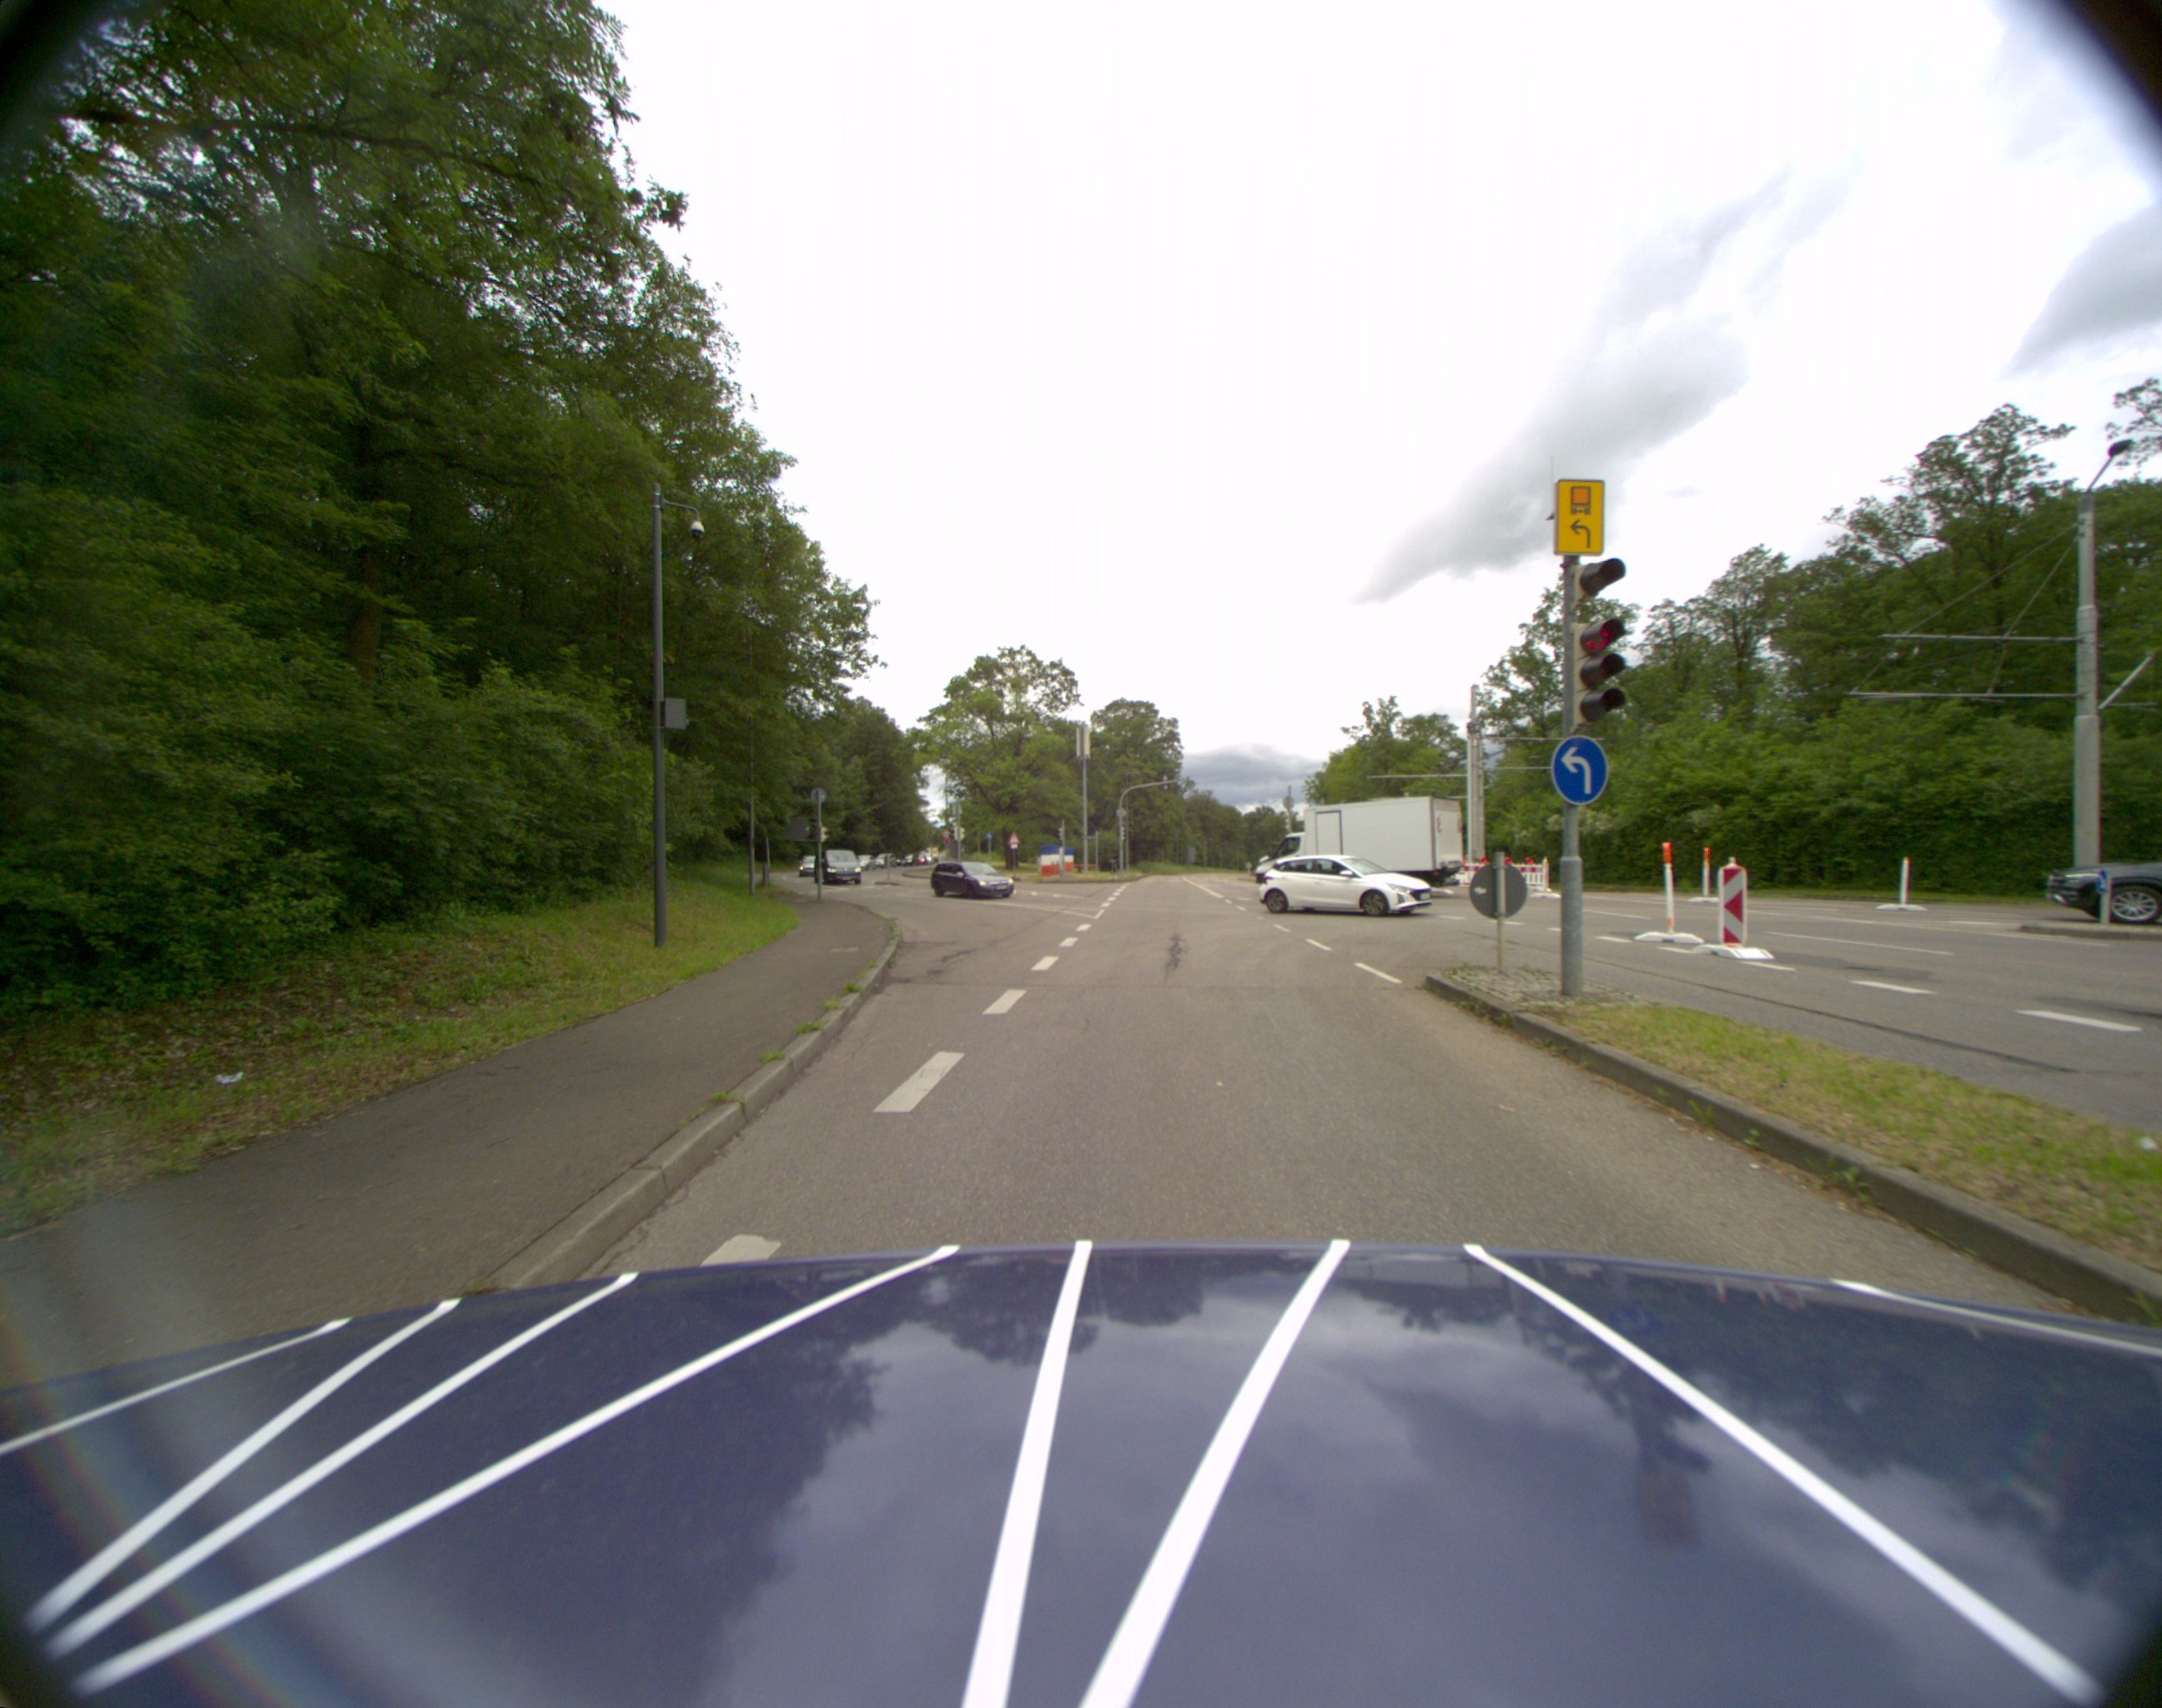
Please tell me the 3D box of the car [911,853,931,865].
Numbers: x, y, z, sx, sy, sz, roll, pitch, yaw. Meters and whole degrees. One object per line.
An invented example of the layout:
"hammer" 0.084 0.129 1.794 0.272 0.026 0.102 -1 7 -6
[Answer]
"car" -20.651 0.628 98.382 1.778 1.491 3.872 1 0 -1

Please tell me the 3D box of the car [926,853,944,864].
"car" -20.389 0.625 106.132 1.778 1.491 3.872 1 0 -1

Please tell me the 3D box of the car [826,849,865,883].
"car" -13.518 0.641 43.516 1.993 1.862 4.524 1 0 -18

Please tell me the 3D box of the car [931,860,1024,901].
"car" -4.260 1.000 30.705 1.808 1.470 4.458 0 0 -36

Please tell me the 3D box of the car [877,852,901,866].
"car" -20.765 0.491 82.353 1.779 1.491 3.871 1 0 -4

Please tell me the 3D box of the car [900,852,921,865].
"car" -20.431 0.574 91.198 1.779 1.491 3.871 1 0 -4

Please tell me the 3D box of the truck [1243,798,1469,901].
"truck" 9.499 -0.159 26.929 2.462 3.205 7.134 0 0 -45

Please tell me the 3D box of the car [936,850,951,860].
"car" -21.996 0.160 121.919 1.778 1.491 3.872 1 0 -1

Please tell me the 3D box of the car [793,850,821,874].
"car" -19.546 0.542 54.140 1.796 1.664 3.984 0 0 -21

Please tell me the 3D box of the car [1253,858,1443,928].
"car" 6.432 0.866 18.642 1.659 1.470 4.061 0 0 -43

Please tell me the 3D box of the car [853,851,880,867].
"car" -20.802 0.517 73.819 1.779 1.491 3.871 1 0 -4
